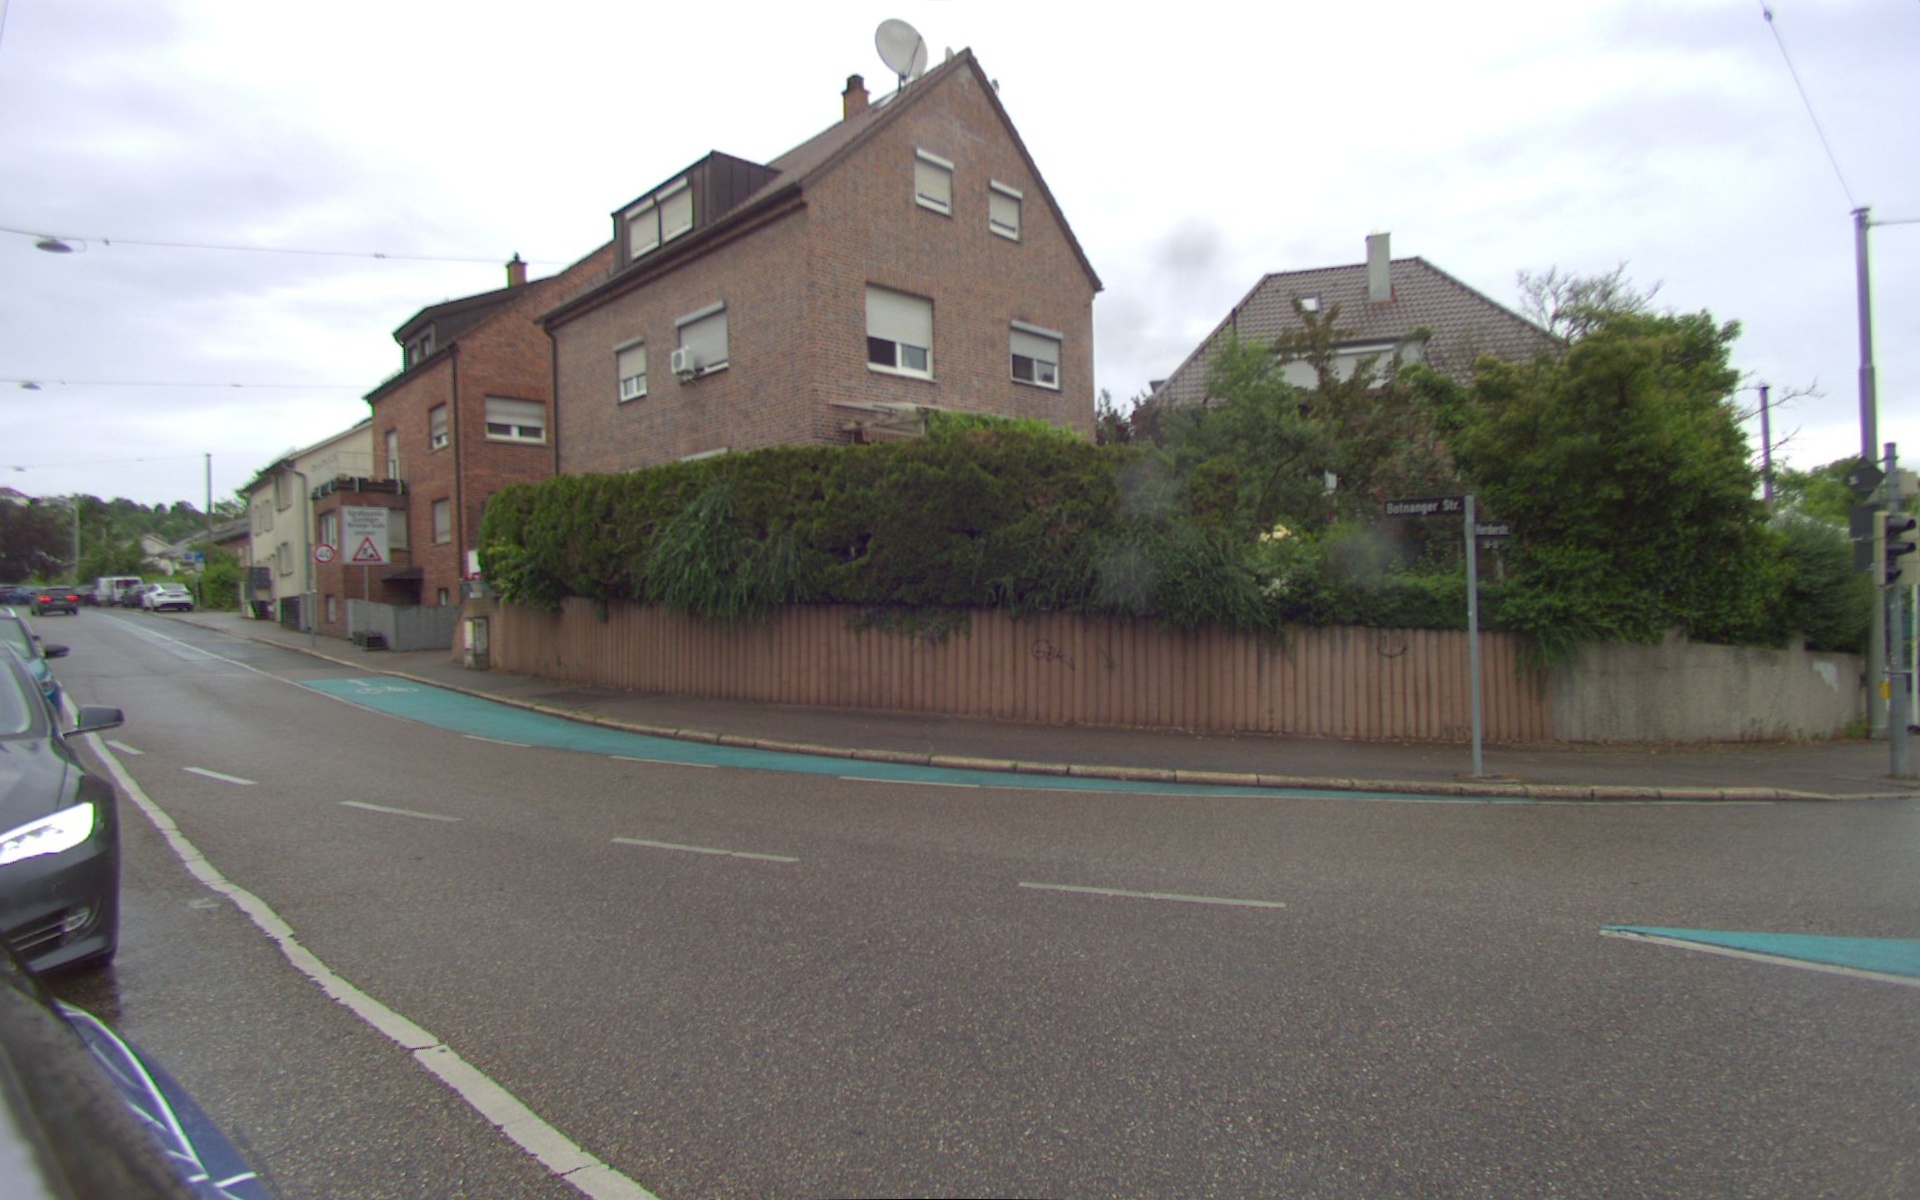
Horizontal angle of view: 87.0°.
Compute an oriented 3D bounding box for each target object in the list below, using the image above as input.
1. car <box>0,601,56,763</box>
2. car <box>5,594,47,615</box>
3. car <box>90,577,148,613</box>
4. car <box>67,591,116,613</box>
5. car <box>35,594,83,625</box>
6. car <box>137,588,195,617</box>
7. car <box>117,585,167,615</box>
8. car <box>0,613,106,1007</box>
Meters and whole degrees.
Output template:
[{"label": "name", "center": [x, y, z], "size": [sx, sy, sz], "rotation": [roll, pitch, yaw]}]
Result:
[{"label": "car", "center": [-11.155, 0.809, 11.003], "size": [3.785, 1.601, 1.765], "rotation": [0, 0, 45]}, {"label": "car", "center": [-71.285, 0.367, 77.234], "size": [3.895, 1.501, 1.605], "rotation": [-1, 2, 36]}, {"label": "car", "center": [-57.018, -0.325, 68.613], "size": [4.544, 2.303, 2.229], "rotation": [0, 2, 41]}, {"label": "car", "center": [-61.470, 0.160, 71.632], "size": [4.002, 1.501, 1.636], "rotation": [-1, 2, 34]}, {"label": "car", "center": [-53.000, 0.546, 59.503], "size": [4.175, 1.693, 1.827], "rotation": [1, -1, 45]}, {"label": "car", "center": [-46.424, 0.157, 59.160], "size": [4.262, 1.577, 1.921], "rotation": [0, 2, 42]}, {"label": "car", "center": [-52.372, -0.015, 64.754], "size": [4.262, 1.817, 1.791], "rotation": [0, 2, 42]}, {"label": "car", "center": [-5.412, 0.800, 4.722], "size": [4.002, 1.426, 1.845], "rotation": [0, 0, 45]}]
